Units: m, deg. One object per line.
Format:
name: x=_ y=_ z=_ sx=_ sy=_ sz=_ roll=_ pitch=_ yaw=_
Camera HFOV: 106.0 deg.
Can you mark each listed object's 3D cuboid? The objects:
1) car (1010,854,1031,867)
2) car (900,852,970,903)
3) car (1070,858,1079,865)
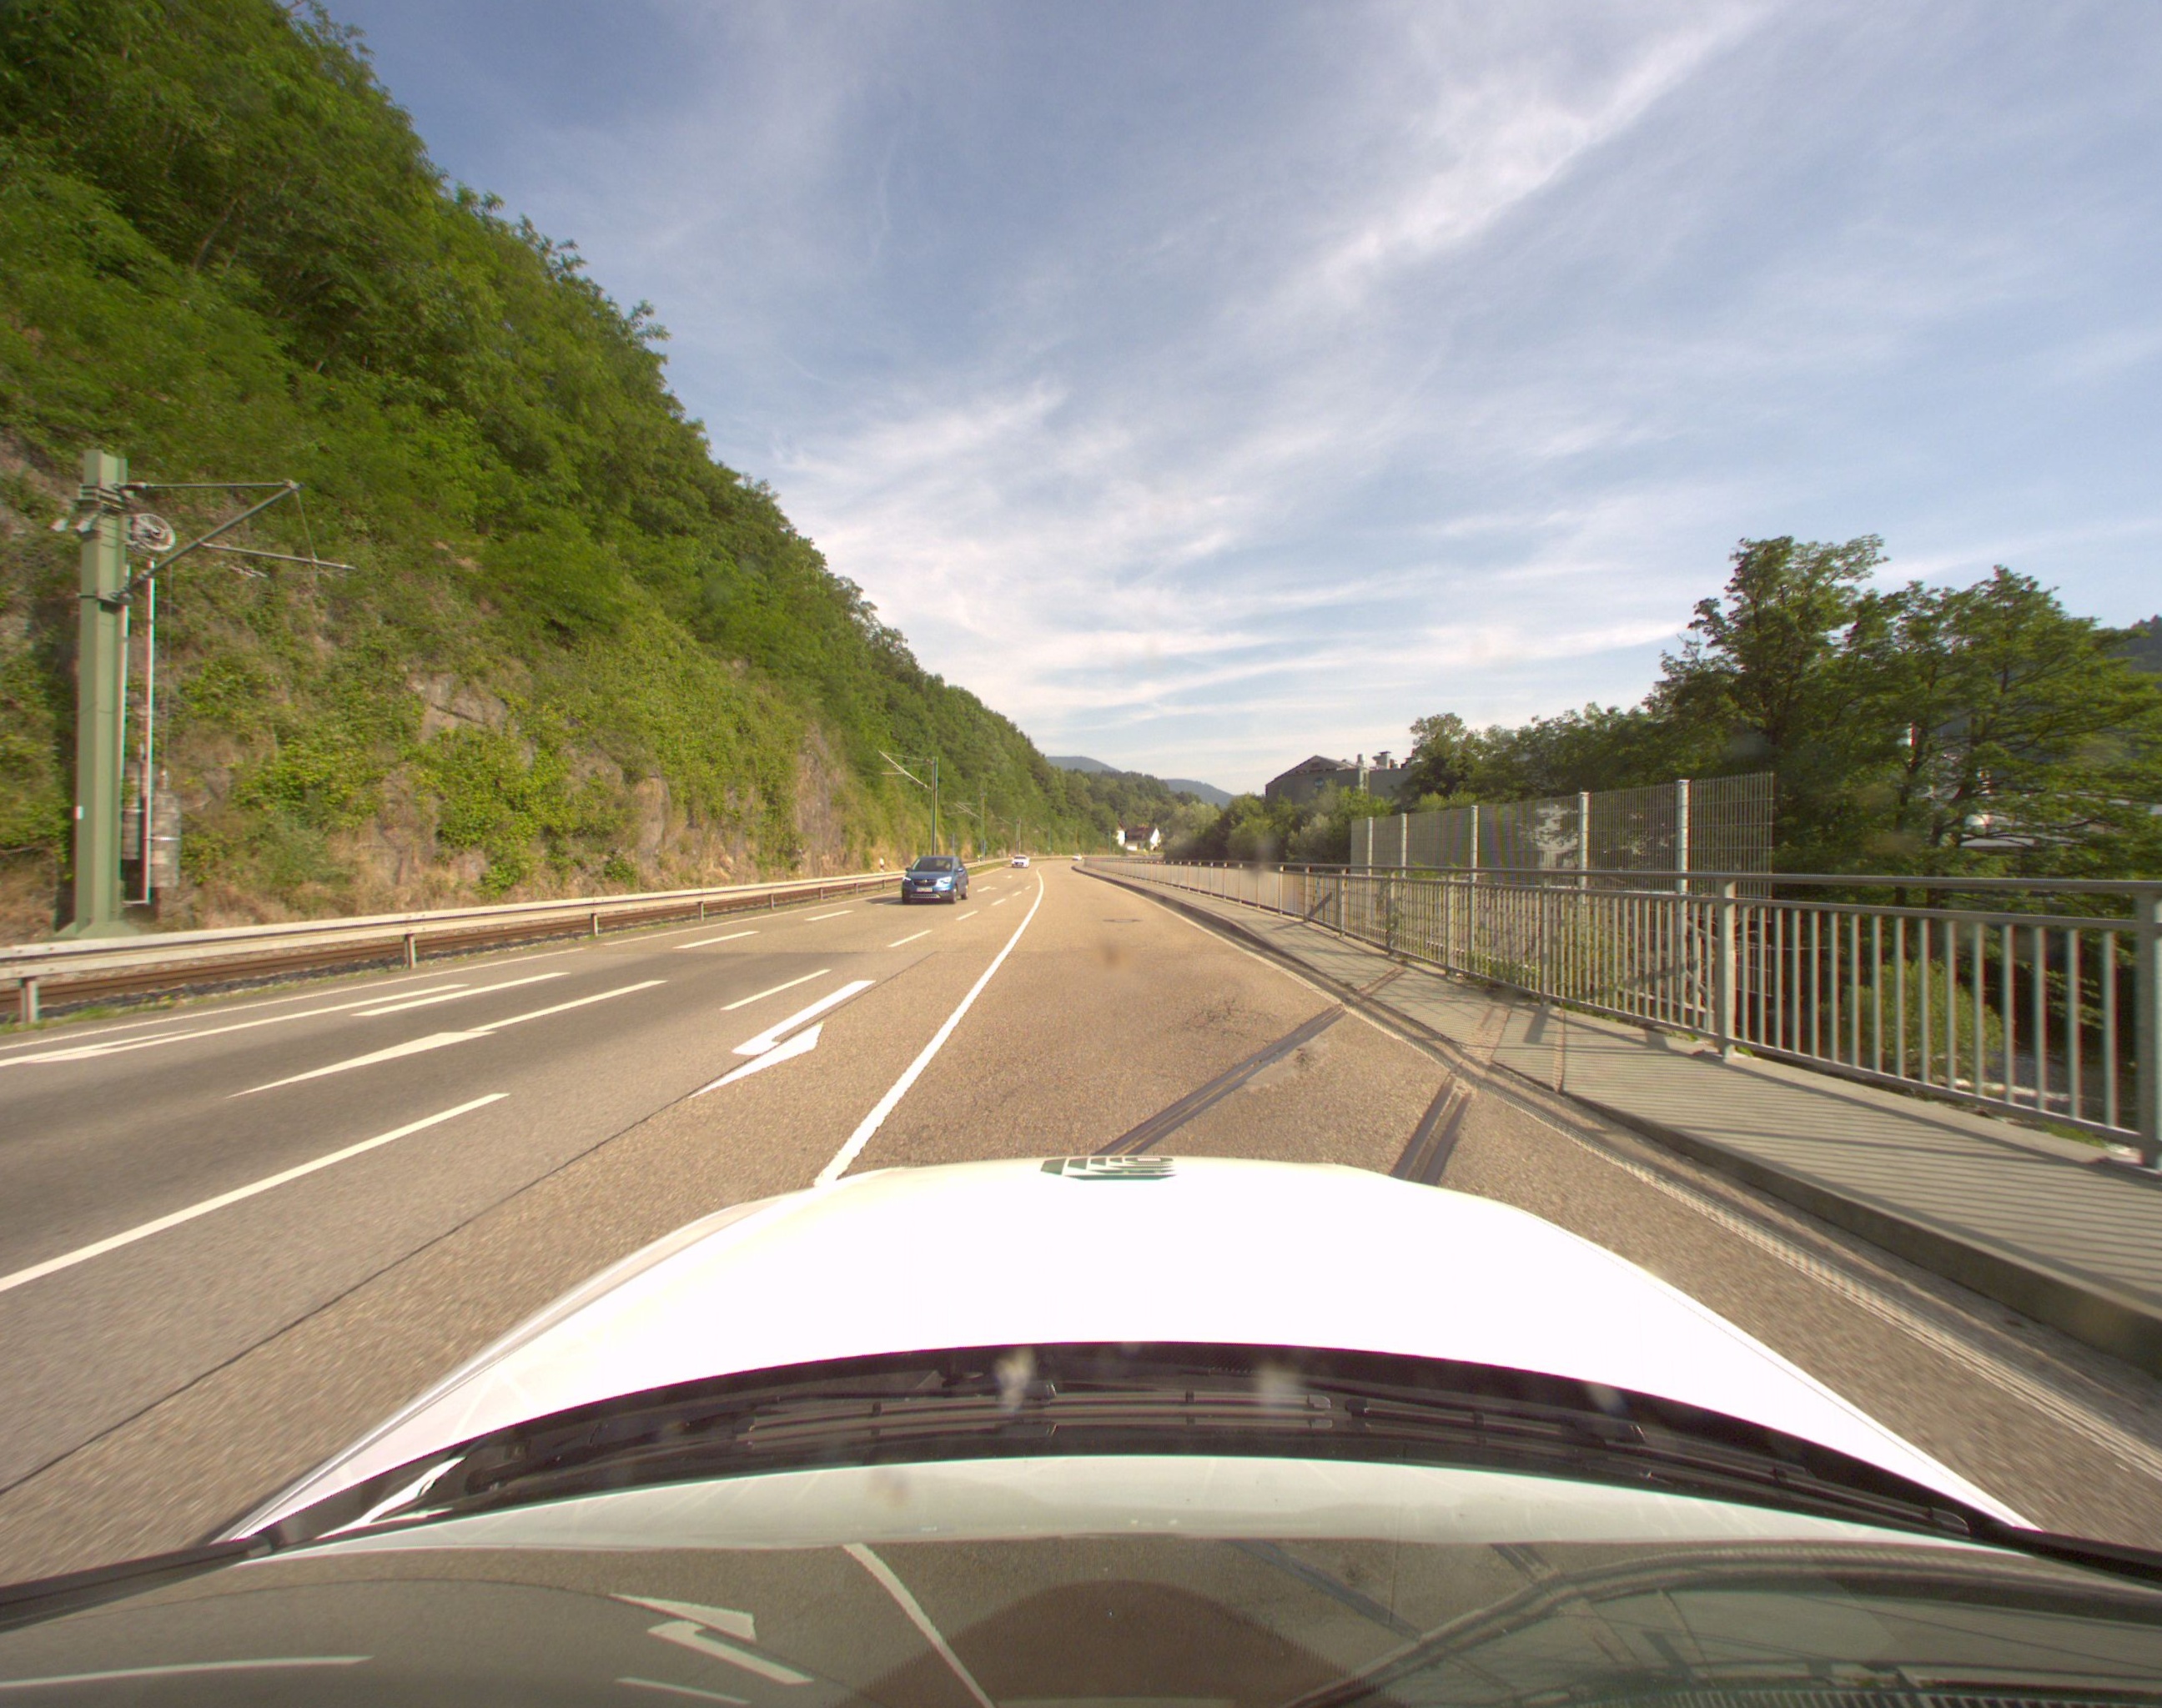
car: x=-7.001 y=0.793 z=94.427 sx=2.057 sy=1.439 sz=4.683 roll=1 pitch=0 yaw=-1
car: x=-4.905 y=0.752 z=27.802 sx=1.714 sy=1.570 sz=4.132 roll=-1 pitch=0 yaw=-1
car: x=-1.527 y=1.653 z=188.911 sx=1.840 sy=1.544 sz=4.605 roll=-1 pitch=0 yaw=2
